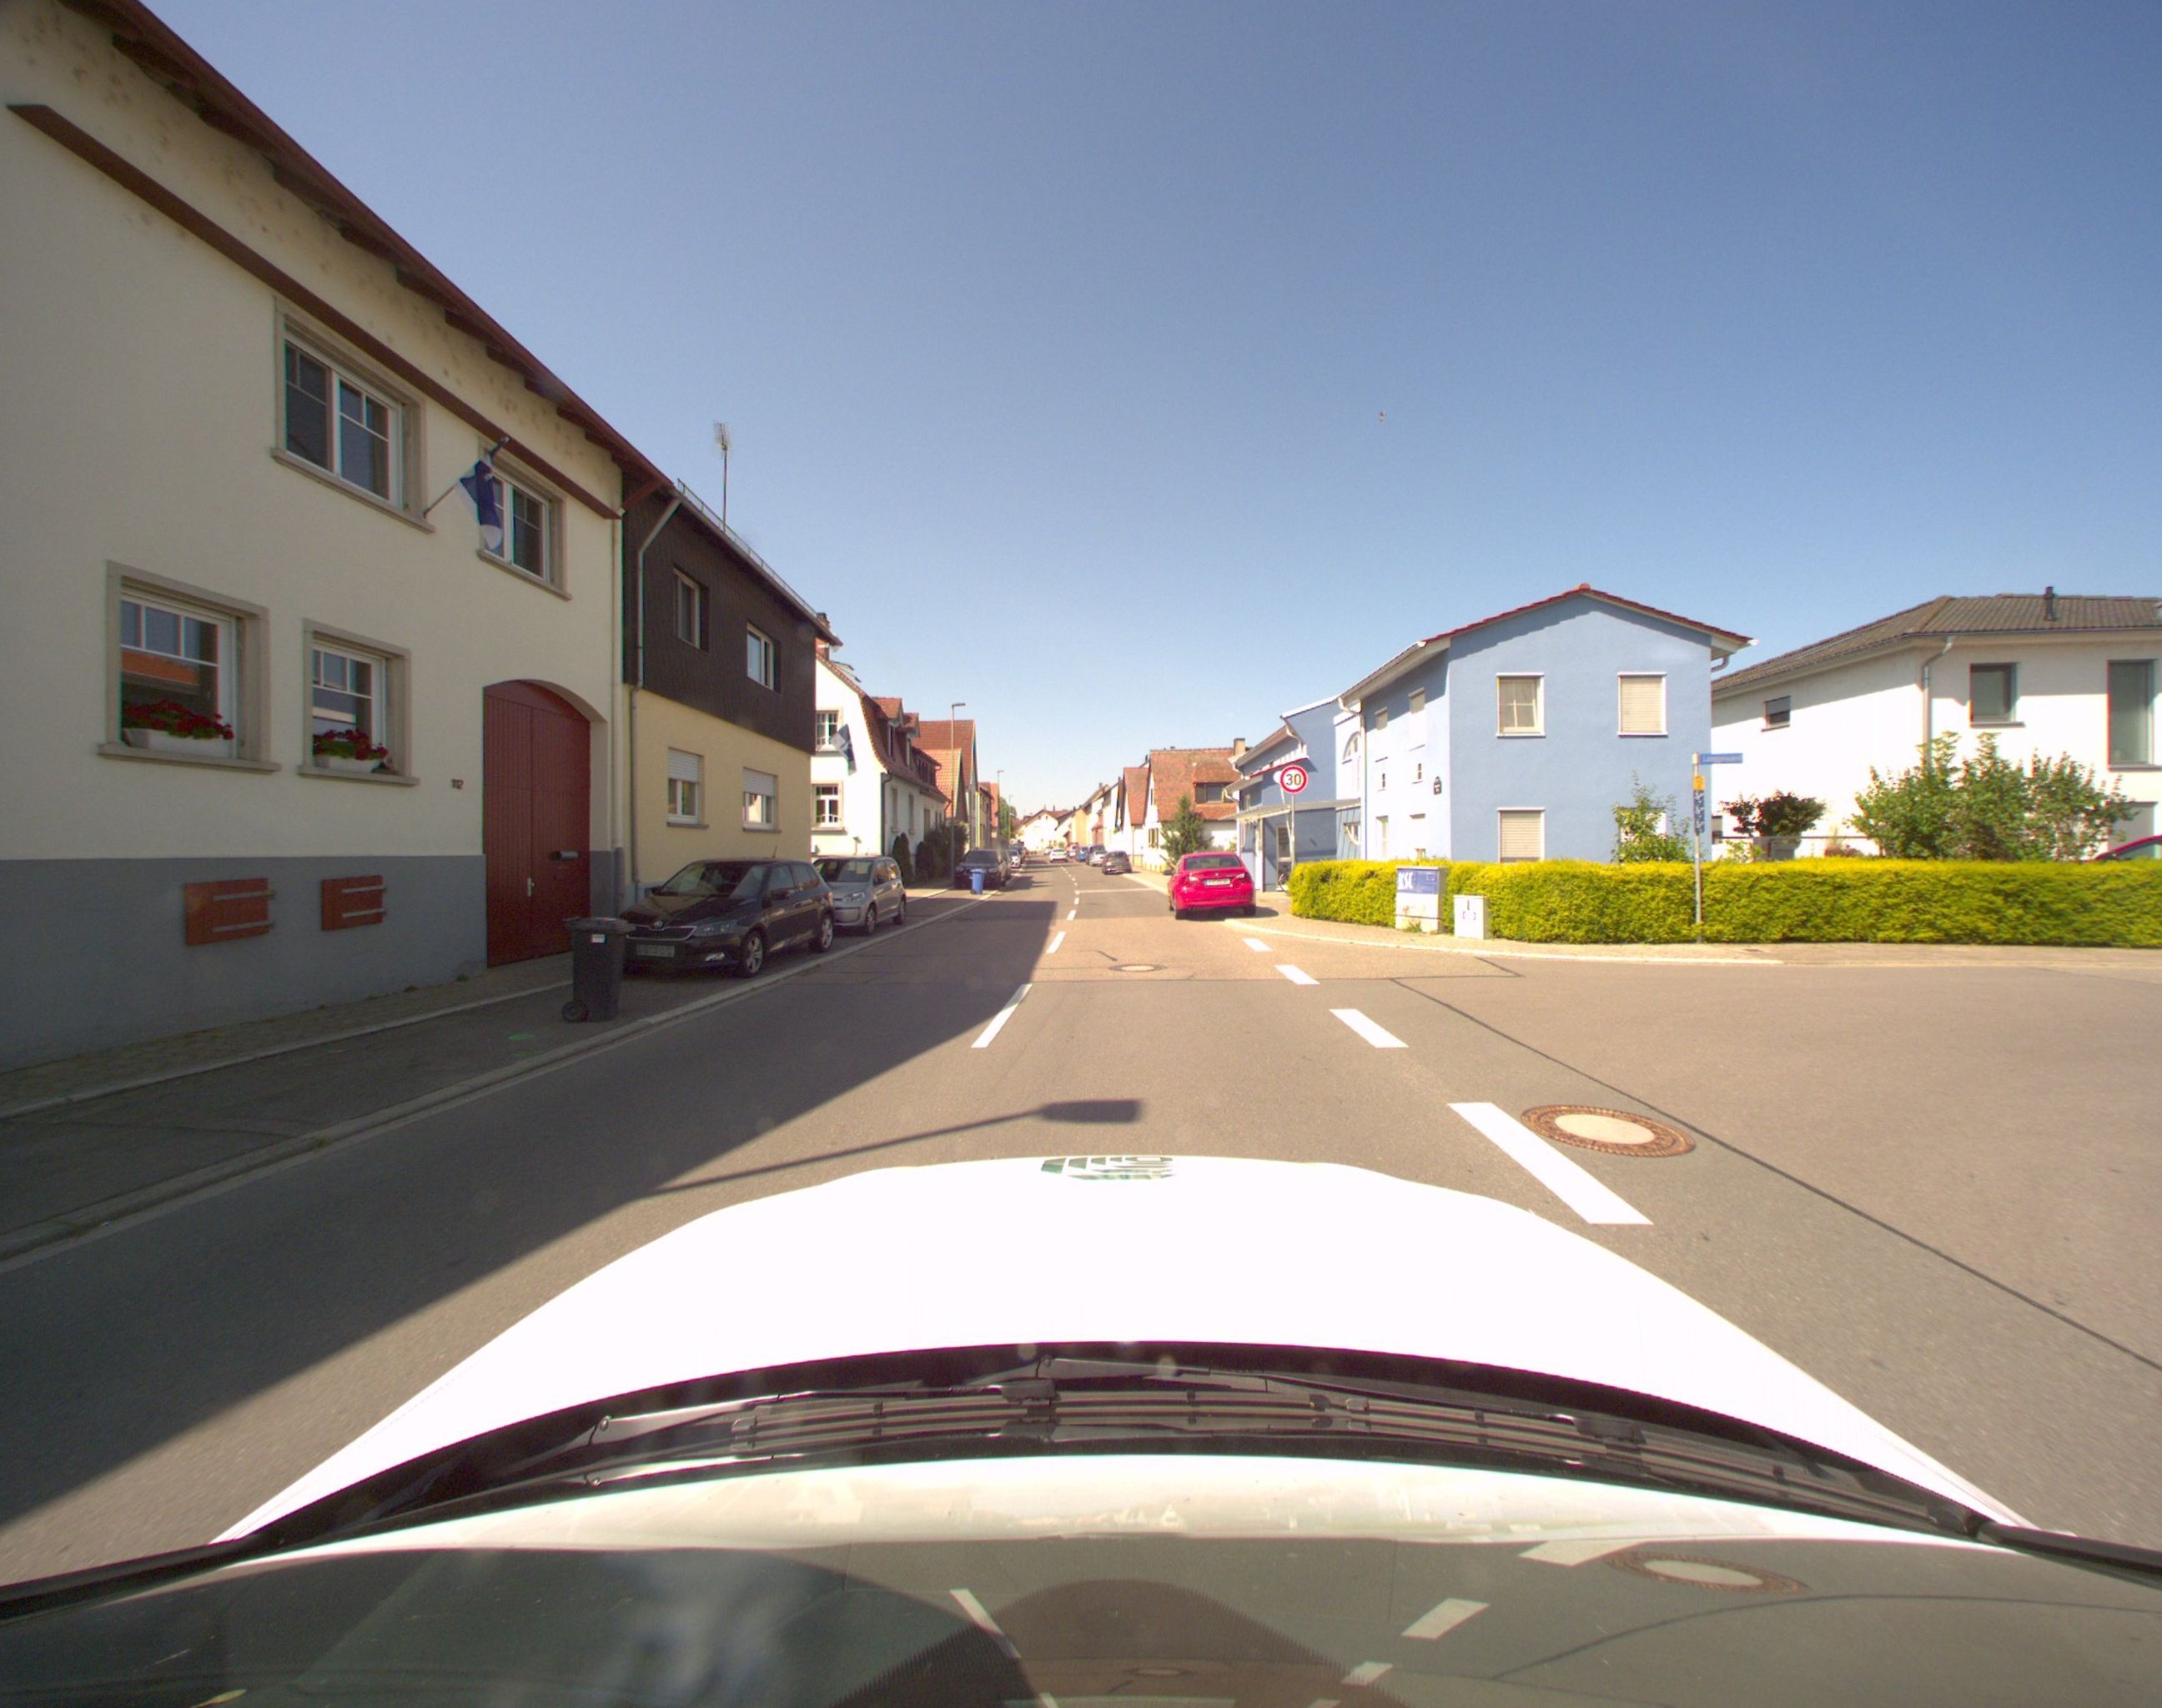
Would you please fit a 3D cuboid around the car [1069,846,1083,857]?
[{"bbox_3d":[-0.733,-0.346,109.109,1.762,1.433,3.446,0,0,-3],"label":"car"}]

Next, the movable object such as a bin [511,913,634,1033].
[{"bbox_3d":[-4.558,1.046,7.349,0.550,0.928,0.824,4,0,-3],"label":"movable object such as a bin"}]

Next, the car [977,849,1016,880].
[{"bbox_3d":[-4.711,0.564,46.140,1.868,1.636,4.660,1,0,-2],"label":"car"}]

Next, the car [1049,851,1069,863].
[{"bbox_3d":[-2.332,0.319,84.791,1.989,1.288,3.995,0,0,-3],"label":"car"}]

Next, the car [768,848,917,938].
[{"bbox_3d":[-4.592,0.695,16.258,1.634,1.501,3.784,3,0,2],"label":"car"}]

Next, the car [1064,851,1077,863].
[{"bbox_3d":[-1.299,0.363,100.946,1.417,1.515,3.299,1,0,-4],"label":"car"}]

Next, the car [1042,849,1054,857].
[{"bbox_3d":[-5.629,-0.128,139.777,1.989,1.288,3.799,0,0,-3],"label":"car"}]

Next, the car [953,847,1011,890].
[{"bbox_3d":[-4.210,0.591,35.349,1.914,1.668,4.664,2,0,0],"label":"car"}]

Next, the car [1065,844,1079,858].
[{"bbox_3d":[-1.277,-0.377,114.119,1.762,2.004,3.446,0,0,-3],"label":"car"}]

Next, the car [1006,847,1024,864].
[{"bbox_3d":[-6.507,0.131,80.525,1.616,1.577,3.956,1,0,-4],"label":"car"}]

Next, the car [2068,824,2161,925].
[{"bbox_3d":[18.537,0.369,12.946,1.626,1.672,3.480,3,0,6],"label":"car"}]

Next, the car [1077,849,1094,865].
[{"bbox_3d":[0.437,0.307,83.344,1.417,1.515,3.299,1,0,-4],"label":"car"}]

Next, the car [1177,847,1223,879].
[{"bbox_3d":[5.656,0.426,39.117,1.684,1.420,4.145,1,0,1],"label":"car"}]

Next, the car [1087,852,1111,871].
[{"bbox_3d":[1.474,0.582,67.240,1.701,1.496,3.447,1,0,-4],"label":"car"}]

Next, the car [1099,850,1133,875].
[{"bbox_3d":[2.115,0.524,50.488,1.701,1.433,3.884,1,0,-4],"label":"car"}]

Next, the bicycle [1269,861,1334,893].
[{"bbox_3d":[7.177,0.741,26.543,1.947,0.981,0.657,-1,0,2],"label":"bicycle"}]

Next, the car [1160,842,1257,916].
[{"bbox_3d":[2.842,0.587,18.985,1.726,1.495,4.356,-1,-2,2],"label":"car"}]

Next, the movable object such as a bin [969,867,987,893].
[{"bbox_3d":[-3.878,0.974,30.654,0.595,0.982,0.530,1,0,-2],"label":"movable object such as a bin"}]

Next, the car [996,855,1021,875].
[{"bbox_3d":[-5.898,0.885,66.925,1.801,1.548,4.400,1,0,-2],"label":"car"}]

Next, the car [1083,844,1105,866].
[{"bbox_3d":[1.121,0.084,72.276,1.646,1.910,3.621,1,0,-4],"label":"car"}]

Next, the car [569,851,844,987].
[{"bbox_3d":[-4.790,0.740,11.141,1.672,1.437,3.998,3,0,3],"label":"car"}]
